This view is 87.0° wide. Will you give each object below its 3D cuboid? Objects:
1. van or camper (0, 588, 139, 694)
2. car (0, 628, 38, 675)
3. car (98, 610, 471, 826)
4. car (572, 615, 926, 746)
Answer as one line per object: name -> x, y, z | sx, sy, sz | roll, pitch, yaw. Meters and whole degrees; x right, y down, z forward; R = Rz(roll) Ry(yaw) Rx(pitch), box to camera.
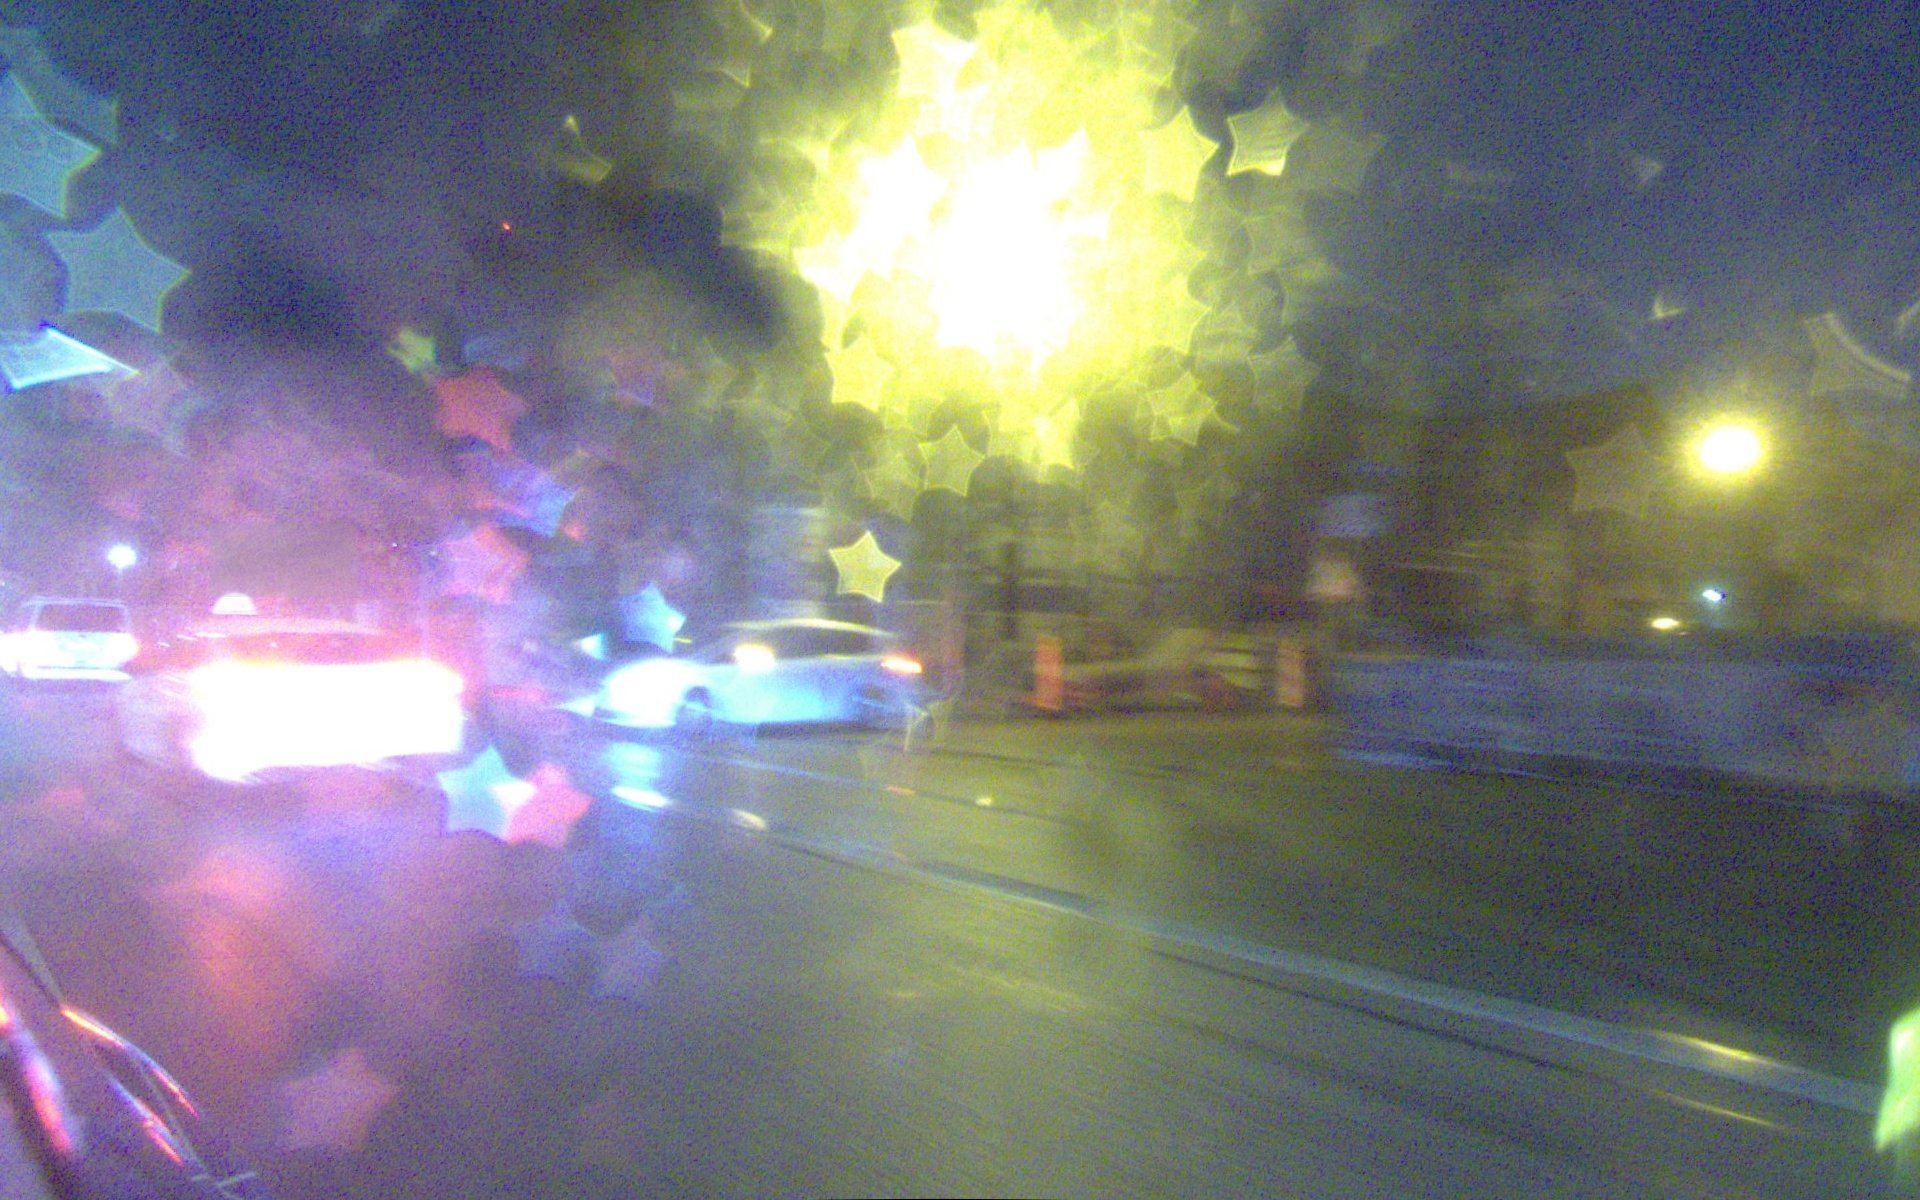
van or camper -> -20.120, 0.915, 22.708 | 4.941, 2.119, 1.850 | -2, -4, 43
car -> -31.232, 1.639, 32.726 | 4.000, 1.444, 1.726 | -2, -4, 43
car -> -6.258, 0.858, 9.133 | 4.577, 1.472, 1.777 | -2, -2, 43
car -> -2.972, 1.140, 14.789 | 4.628, 1.631, 2.004 | 3, -4, -38
